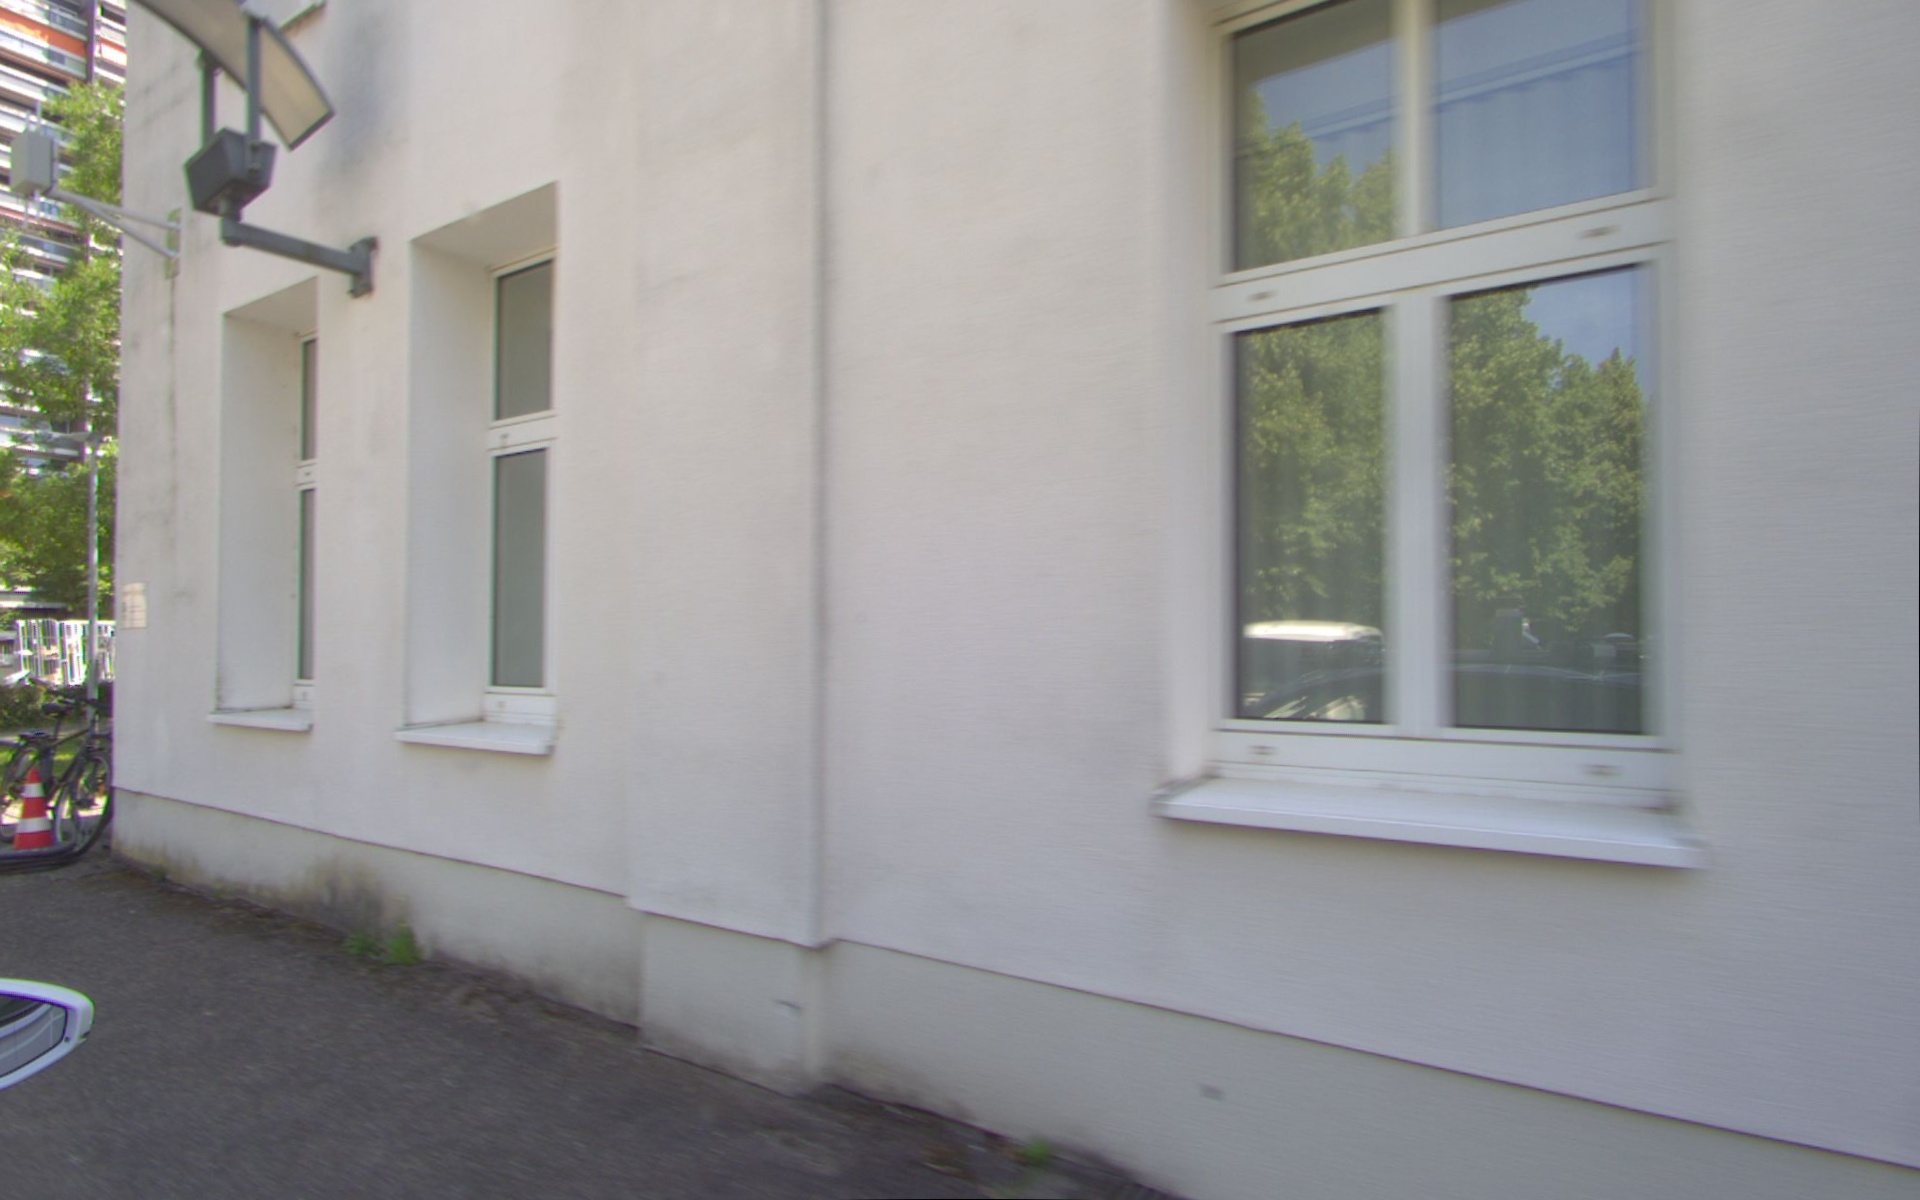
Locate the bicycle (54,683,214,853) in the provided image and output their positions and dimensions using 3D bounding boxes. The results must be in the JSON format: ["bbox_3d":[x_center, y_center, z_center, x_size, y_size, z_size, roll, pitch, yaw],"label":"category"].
[{"bbox_3d":[-6.184,1.192,7.466,1.801,1.115,0.404,-2,-3,34],"label":"bicycle"}]

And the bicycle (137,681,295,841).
[{"bbox_3d":[-5.879,1.211,7.880,1.801,1.115,0.404,-2,-3,34],"label":"bicycle"}]

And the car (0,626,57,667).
[{"bbox_3d":[-54.816,2.741,58.671,2.164,2.286,4.838,1,-3,-35],"label":"car"}]

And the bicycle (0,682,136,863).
[{"bbox_3d":[-6.395,1.149,7.045,1.801,1.115,0.404,-2,-3,34],"label":"bicycle"}]
